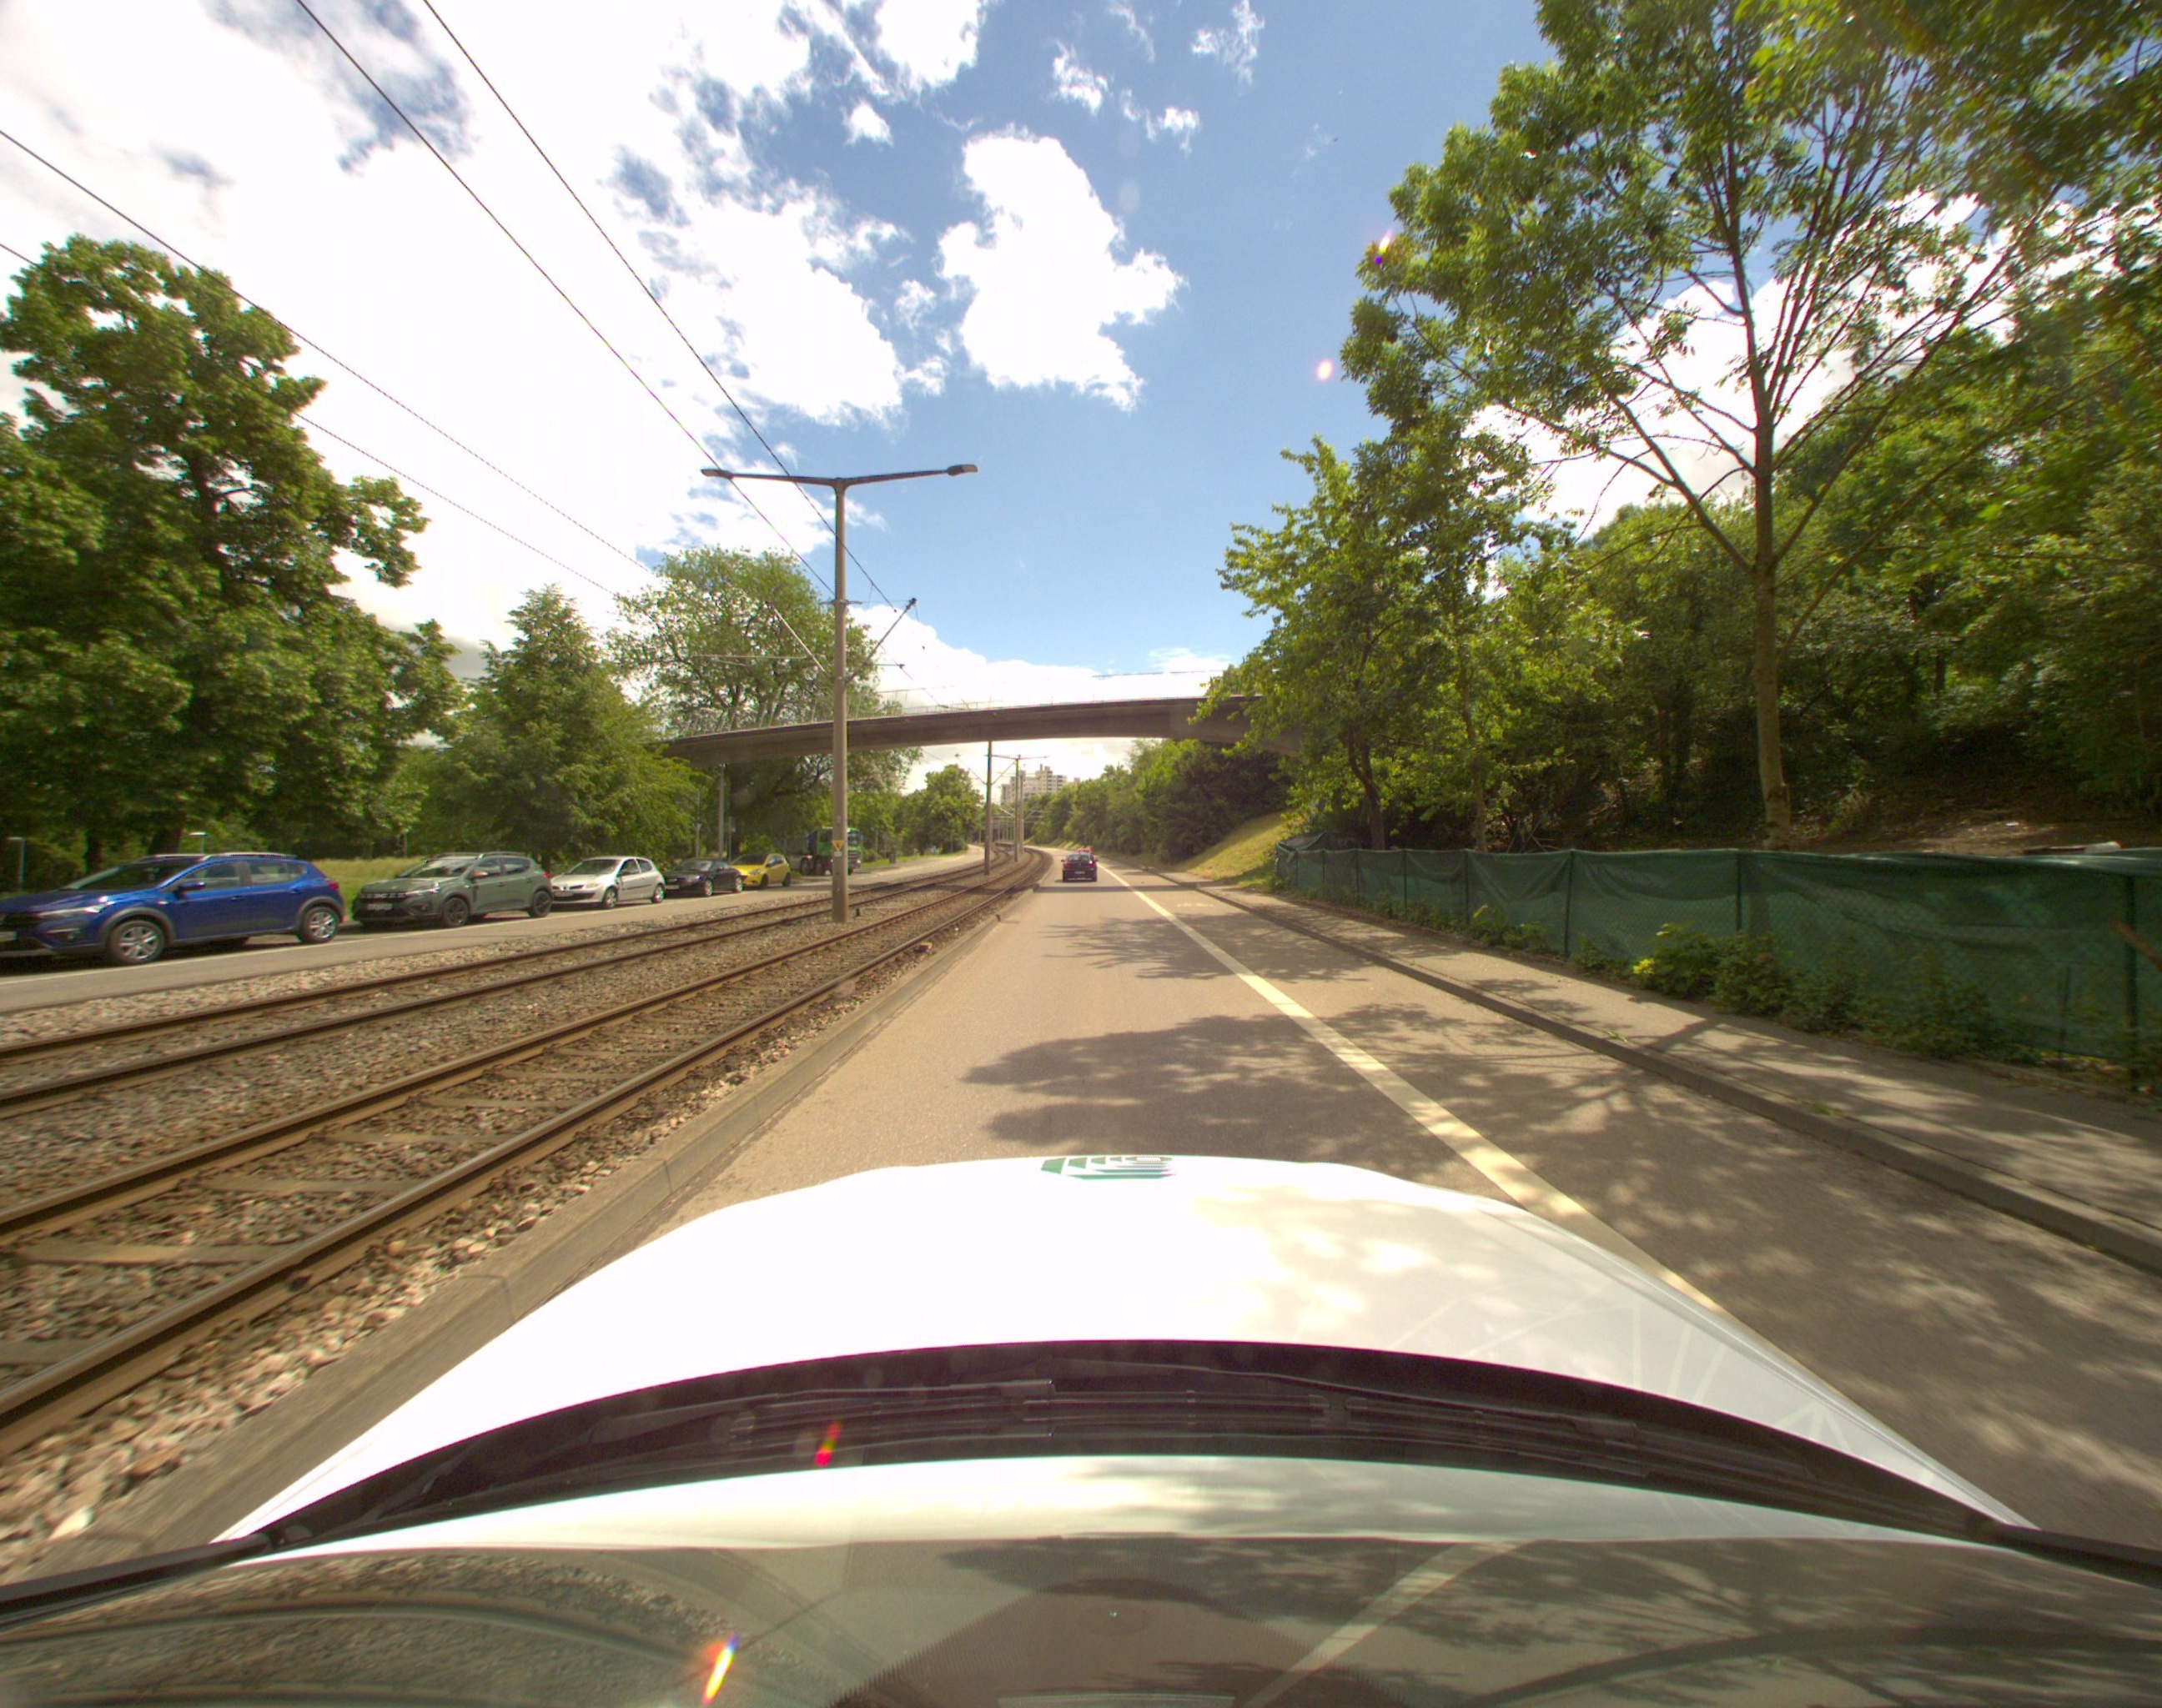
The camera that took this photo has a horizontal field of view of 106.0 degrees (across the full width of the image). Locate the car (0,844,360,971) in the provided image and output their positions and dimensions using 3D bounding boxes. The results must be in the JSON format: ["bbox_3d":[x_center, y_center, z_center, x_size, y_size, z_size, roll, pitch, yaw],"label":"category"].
[{"bbox_3d":[-13.801,0.729,12.521,1.551,1.596,4.161,1,-2,2],"label":"car"}]

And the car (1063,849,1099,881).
[{"bbox_3d":[0.012,0.539,41.206,1.703,1.460,3.959,2,0,0],"label":"car"}]

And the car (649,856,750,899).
[{"bbox_3d":[-13.366,0.782,28.819,1.505,1.360,4.130,-1,0,2],"label":"car"}]

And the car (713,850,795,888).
[{"bbox_3d":[-13.509,0.635,33.899,1.683,1.450,3.899,1,-2,2],"label":"car"}]

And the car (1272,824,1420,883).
[{"bbox_3d":[9.238,-0.002,28.691,4.505,1.671,2.002,-4,-2,3],"label":"car"}]

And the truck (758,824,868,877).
[{"bbox_3d":[-18.520,-0.272,55.929,8.916,3.320,2.898,1,-1,41],"label":"truck"}]

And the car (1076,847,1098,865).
[{"bbox_3d":[0.564,0.199,70.028,1.617,1.443,3.424,1,-1,4],"label":"car"}]

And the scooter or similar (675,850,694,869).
[{"bbox_3d":[-23.865,0.333,49.010,0.707,1.147,0.788,1,-2,3],"label":"scooter or similar"}]

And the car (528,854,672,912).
[{"bbox_3d":[-13.611,0.798,23.362,1.588,1.494,4.191,2,-1,0],"label":"car"}]

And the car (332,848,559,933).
[{"bbox_3d":[-13.678,0.720,17.883,1.636,1.622,4.127,-1,0,2],"label":"car"}]
